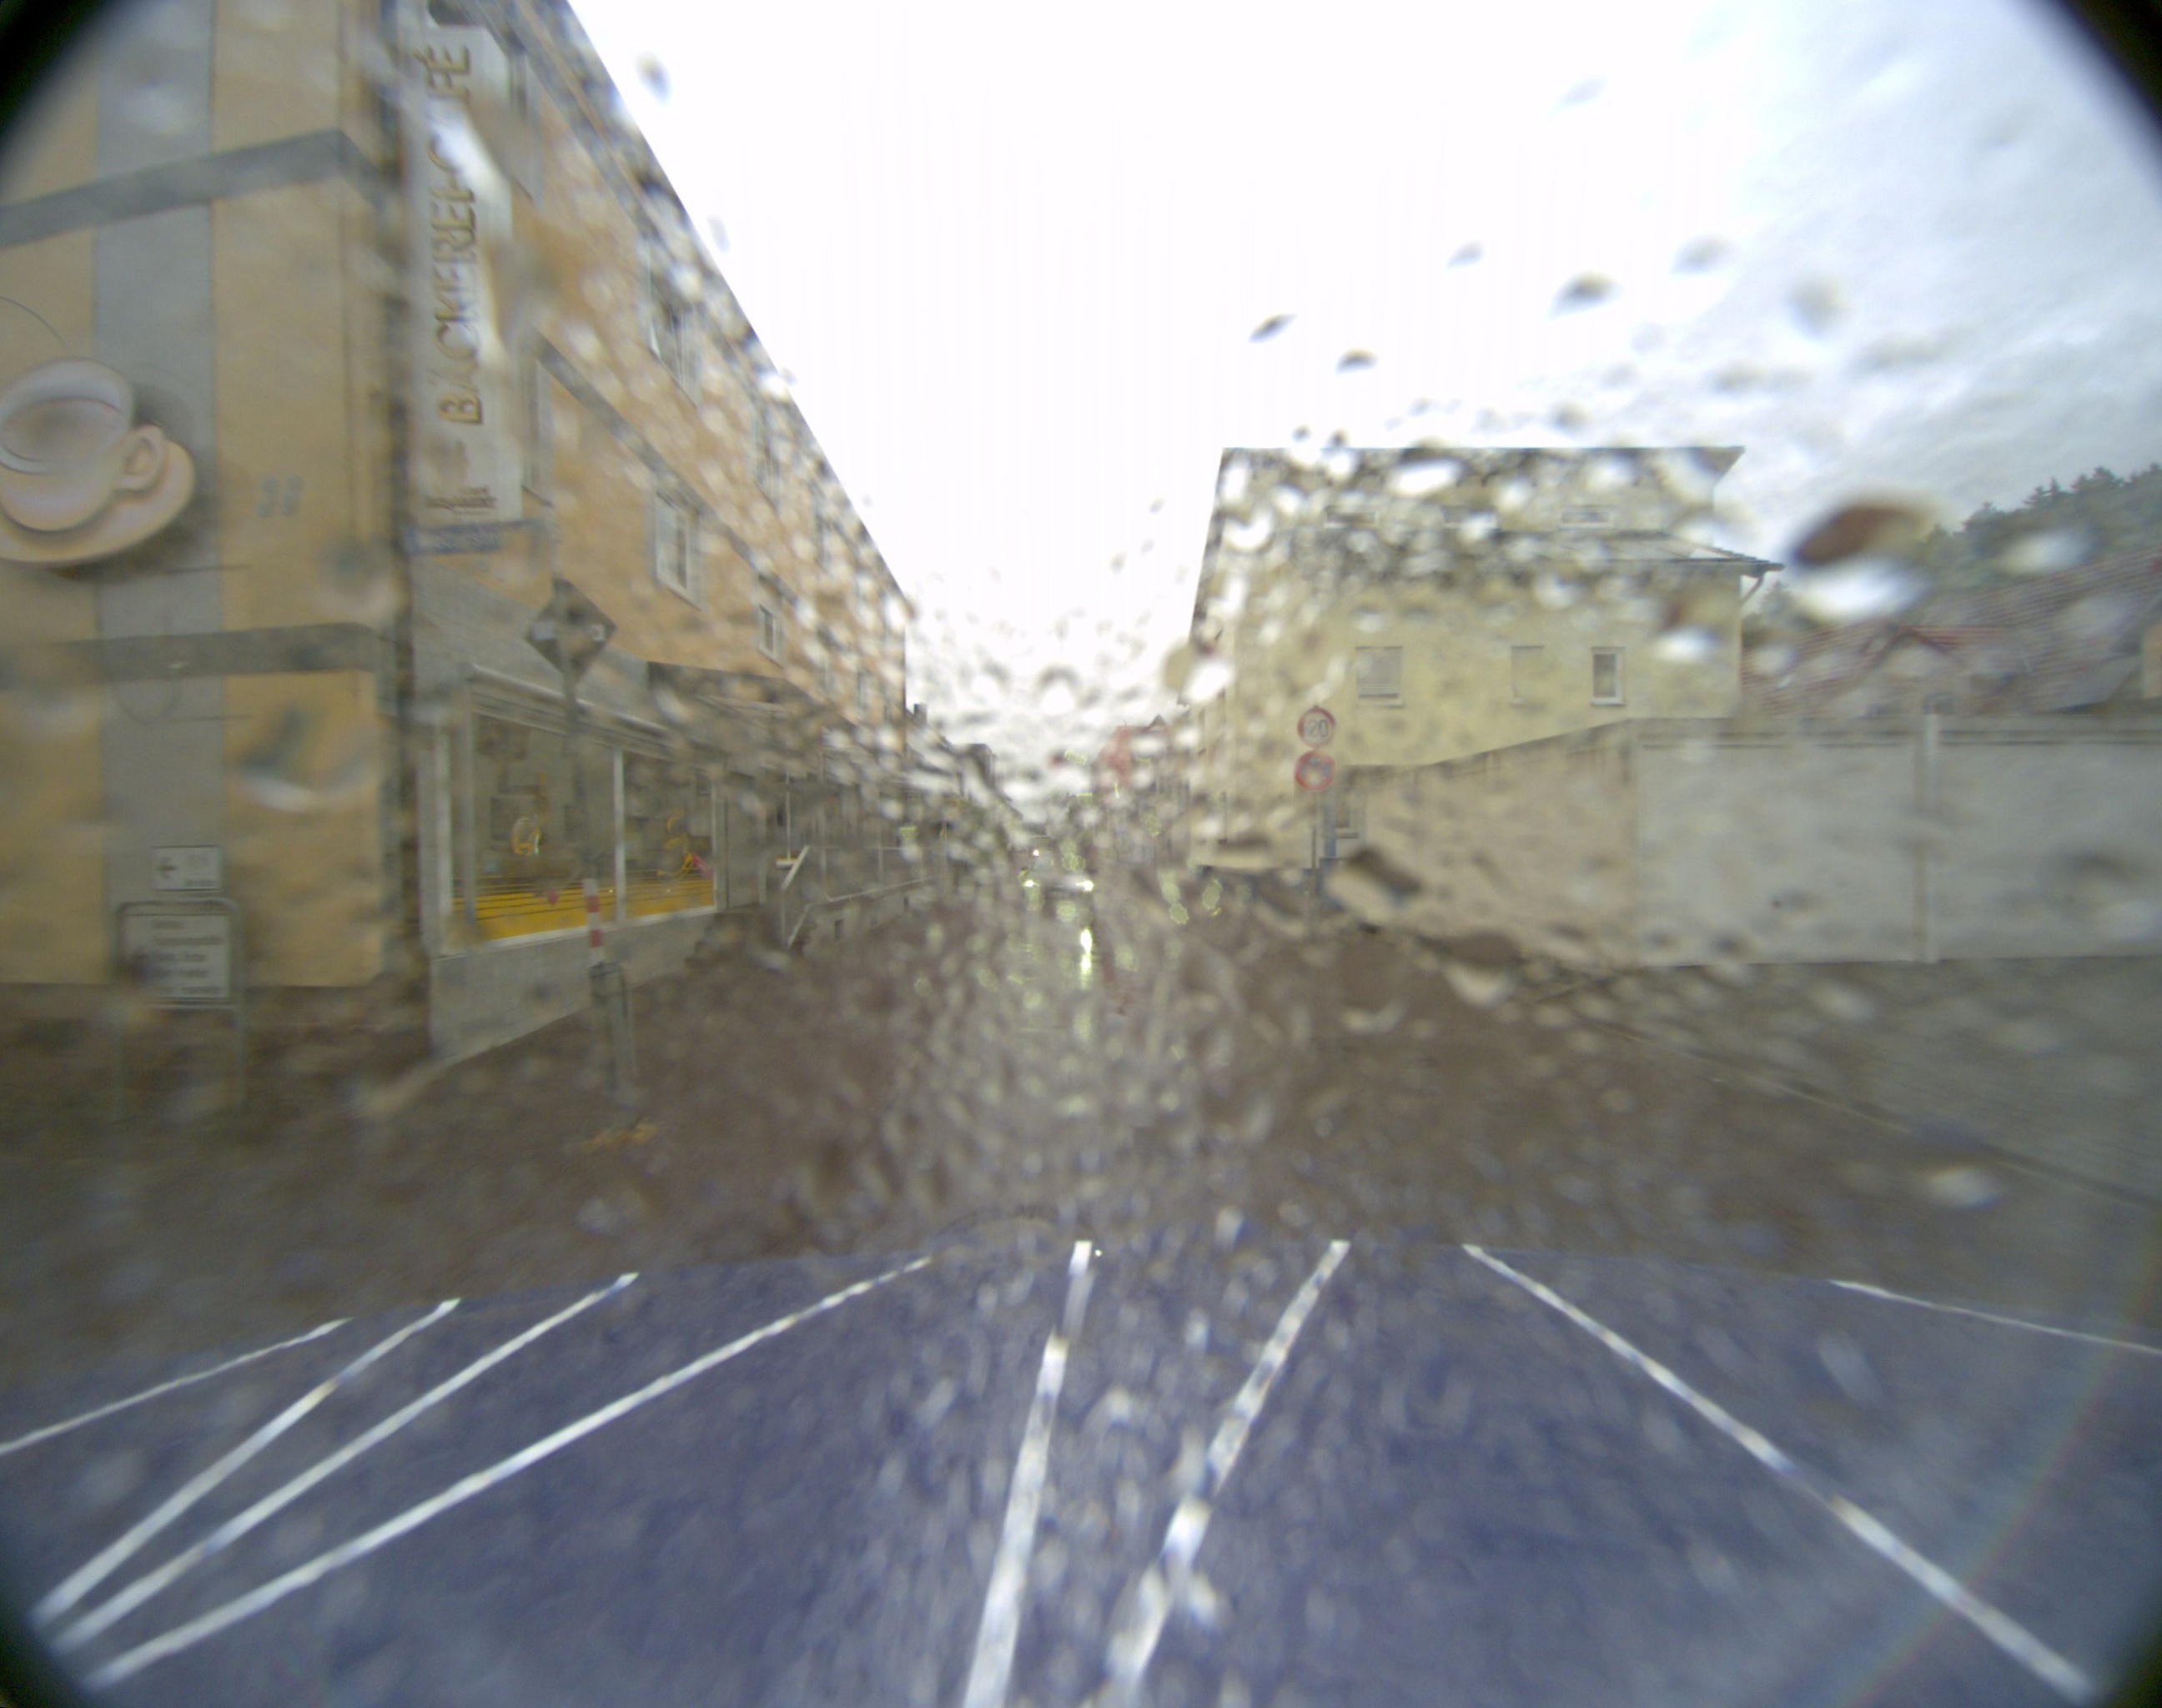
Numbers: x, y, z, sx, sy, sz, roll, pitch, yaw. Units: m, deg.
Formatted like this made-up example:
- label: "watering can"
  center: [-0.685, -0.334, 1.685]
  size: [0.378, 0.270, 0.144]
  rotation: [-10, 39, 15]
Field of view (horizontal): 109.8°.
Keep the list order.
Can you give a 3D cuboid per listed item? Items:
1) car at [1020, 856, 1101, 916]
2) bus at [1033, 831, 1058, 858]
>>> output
- label: "car"
  center: [-0.444, 0.777, 19.905]
  size: [1.800, 1.341, 3.738]
  rotation: [-2, 0, 3]
- label: "bus"
  center: [-5.161, -1.338, 108.222]
  size: [2.894, 3.589, 11.972]
  rotation: [-1, 1, -6]
